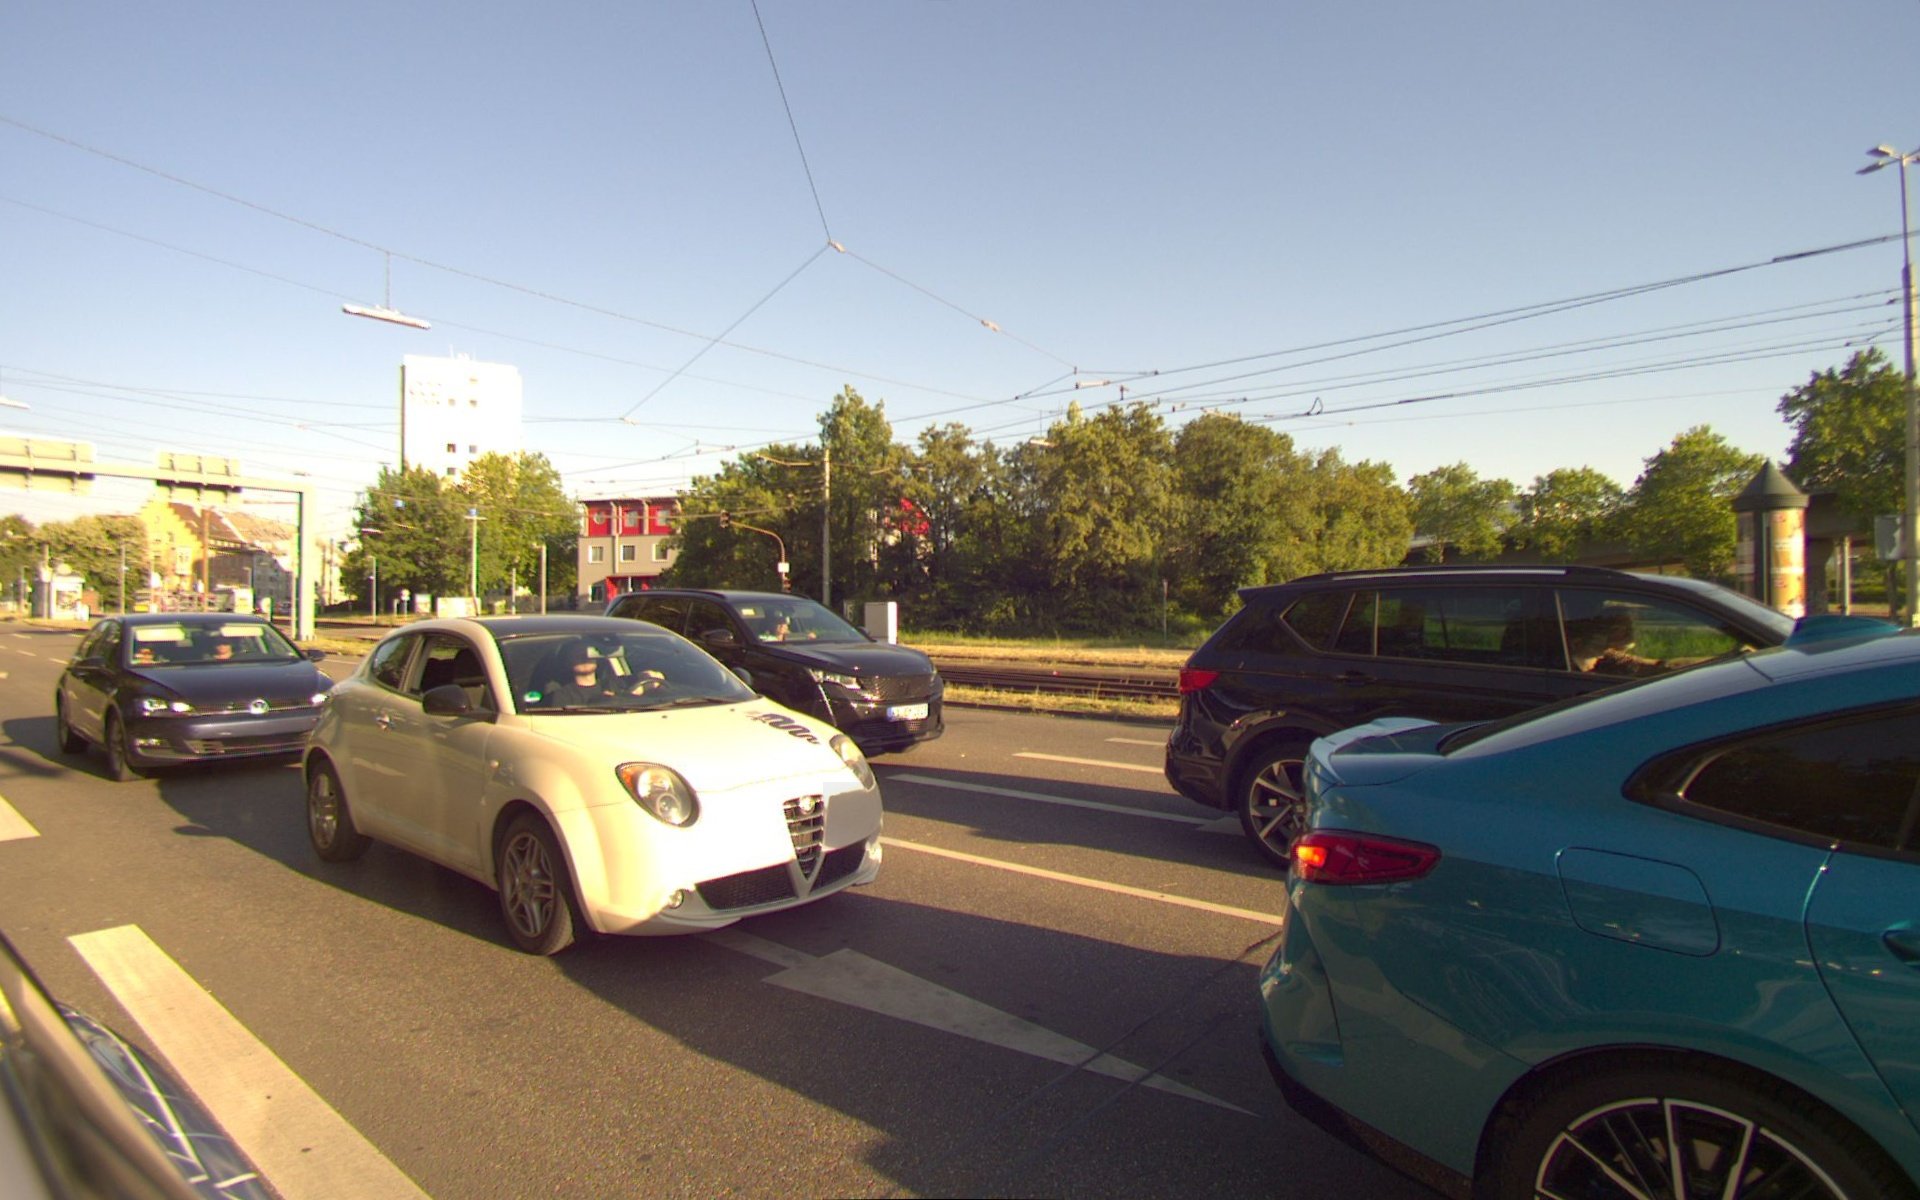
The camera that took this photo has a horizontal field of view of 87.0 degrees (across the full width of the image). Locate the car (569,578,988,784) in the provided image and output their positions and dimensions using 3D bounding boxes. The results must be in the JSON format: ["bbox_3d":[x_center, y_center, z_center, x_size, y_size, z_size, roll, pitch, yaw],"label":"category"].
[{"bbox_3d":[-2.052,0.680,10.451,4.601,1.661,1.894,-1,-1,43],"label":"car"}]

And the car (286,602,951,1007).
[{"bbox_3d":[-2.063,0.749,5.504,3.921,1.441,1.644,-1,-1,40],"label":"car"}]

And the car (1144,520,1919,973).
[{"bbox_3d":[3.438,0.562,5.159,4.598,1.694,1.896,-1,-1,40],"label":"car"}]

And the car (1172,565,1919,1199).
[{"bbox_3d":[2.781,0.655,1.565,4.507,1.428,1.767,-1,-1,39],"label":"car"}]

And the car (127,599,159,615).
[{"bbox_3d":[-108.313,0.911,134.149,1.966,2.029,4.012,-1,0,-17],"label":"car"}]

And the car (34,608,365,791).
[{"bbox_3d":[-7.546,0.806,9.922,3.921,1.441,1.759,-1,-1,40],"label":"car"}]
